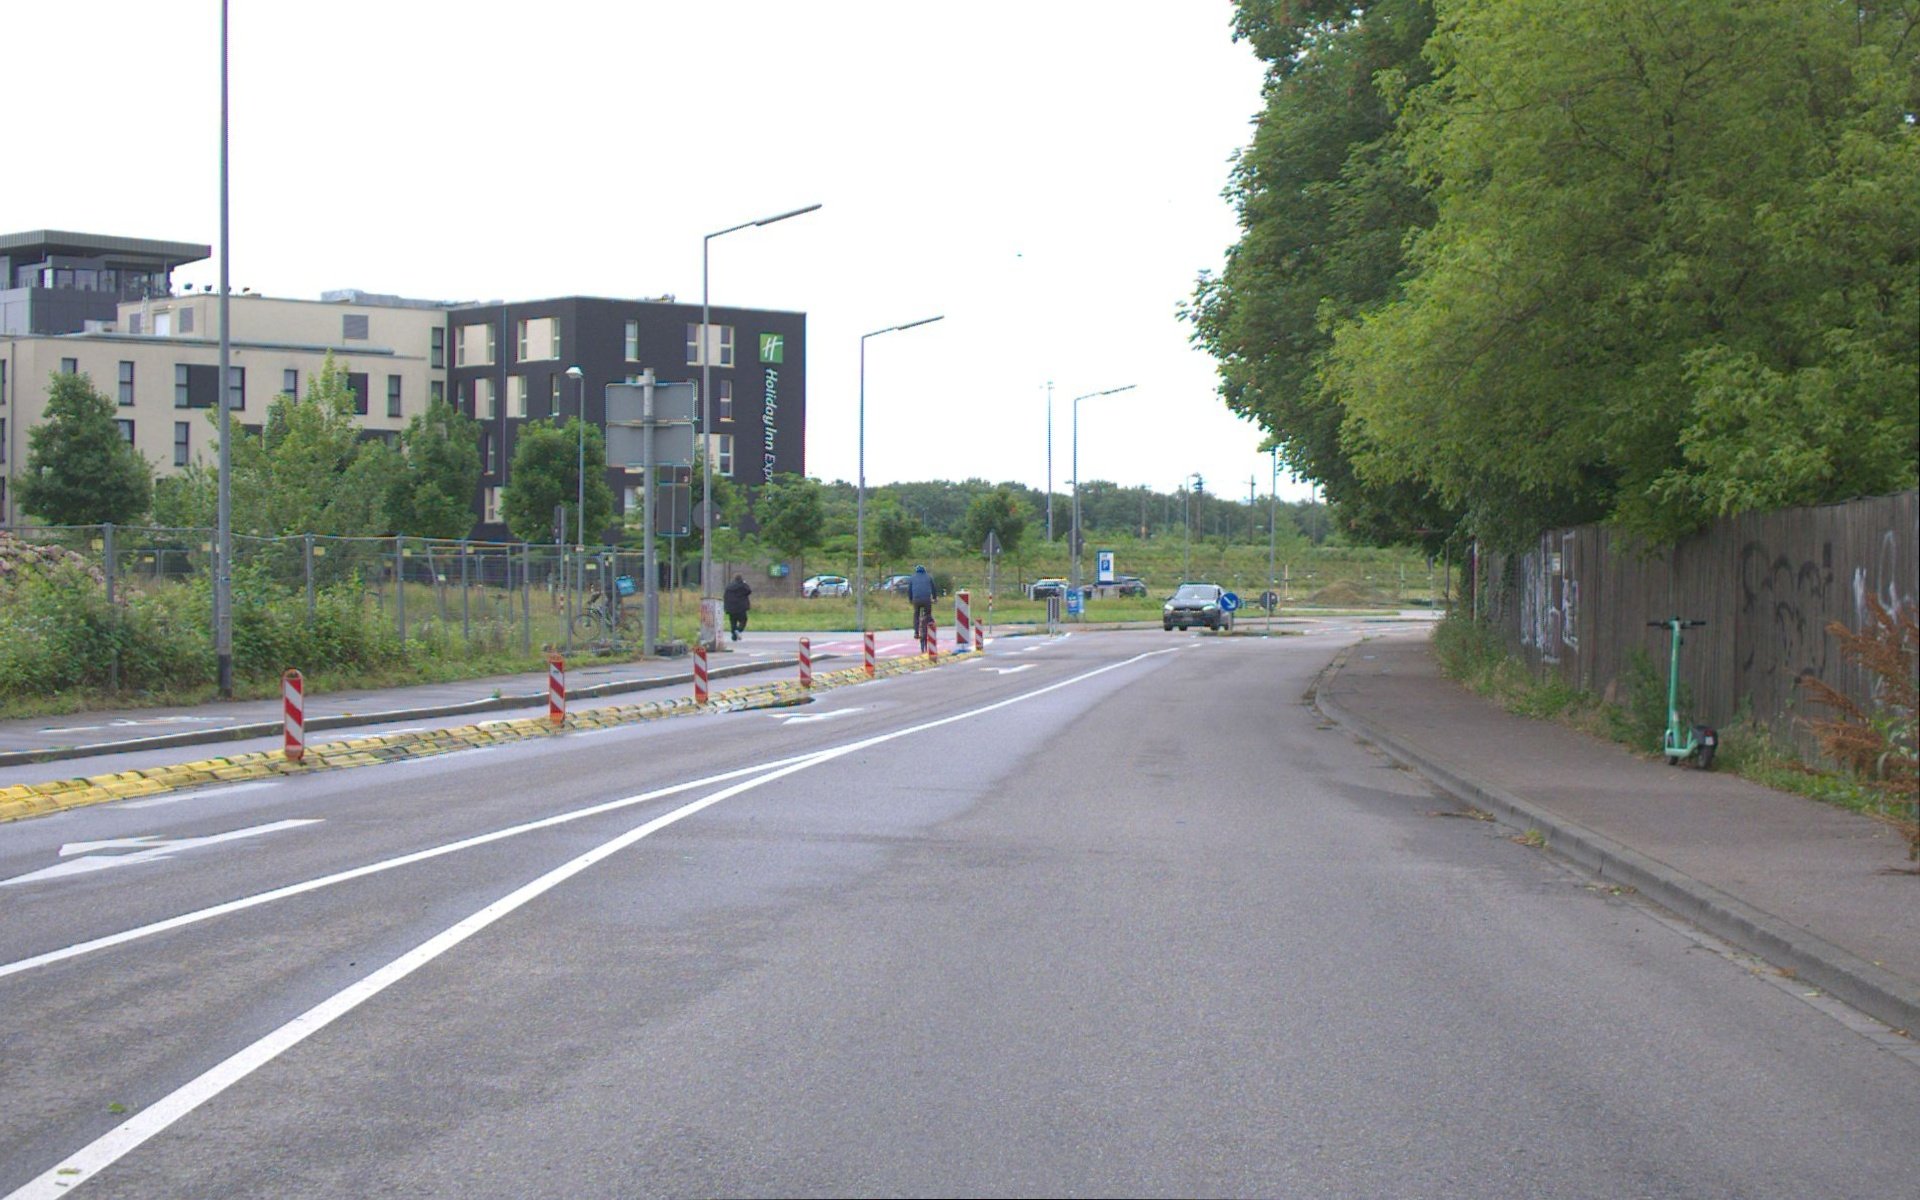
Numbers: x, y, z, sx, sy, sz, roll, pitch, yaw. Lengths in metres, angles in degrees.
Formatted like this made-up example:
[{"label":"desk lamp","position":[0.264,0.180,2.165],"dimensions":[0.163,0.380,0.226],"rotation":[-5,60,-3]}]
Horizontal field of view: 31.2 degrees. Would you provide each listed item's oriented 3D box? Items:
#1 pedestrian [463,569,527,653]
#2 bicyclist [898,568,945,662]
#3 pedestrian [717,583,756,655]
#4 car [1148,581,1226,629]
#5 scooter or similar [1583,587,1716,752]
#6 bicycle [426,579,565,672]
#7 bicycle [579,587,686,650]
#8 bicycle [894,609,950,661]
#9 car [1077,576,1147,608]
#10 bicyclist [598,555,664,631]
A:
[{"label":"pedestrian","position":[-10.370,0.238,76.677],"dimensions":[1.174,1.840,0.734],"rotation":[1,1,22]},{"label":"bicyclist","position":[-0.828,0.318,74.538],"dimensions":[0.862,2.007,1.177],"rotation":[1,1,7]},{"label":"pedestrian","position":[-5.662,0.477,87.142],"dimensions":[0.844,1.776,1.077],"rotation":[1,1,4]},{"label":"car","position":[7.725,0.154,116.888],"dimensions":[1.882,1.561,4.355],"rotation":[1,1,14]},{"label":"scooter or similar","position":[5.862,0.566,29.336],"dimensions":[0.691,1.308,2.353],"rotation":[1,1,1]},{"label":"bicycle","position":[-10.369,0.550,76.687],"dimensions":[3.130,2.007,0.673],"rotation":[1,1,22]},{"label":"bicycle","position":[-8.341,0.459,87.529],"dimensions":[2.491,1.578,1.087],"rotation":[0,1,-24]},{"label":"bicycle","position":[-0.819,0.754,74.577],"dimensions":[0.884,1.049,2.468],"rotation":[1,1,7]},{"label":"car","position":[9.035,-0.476,204.390],"dimensions":[1.994,1.816,3.999],"rotation":[0,1,-40]},{"label":"bicyclist","position":[-8.374,-0.184,87.497],"dimensions":[1.397,1.893,1.077],"rotation":[0,1,-24]}]
